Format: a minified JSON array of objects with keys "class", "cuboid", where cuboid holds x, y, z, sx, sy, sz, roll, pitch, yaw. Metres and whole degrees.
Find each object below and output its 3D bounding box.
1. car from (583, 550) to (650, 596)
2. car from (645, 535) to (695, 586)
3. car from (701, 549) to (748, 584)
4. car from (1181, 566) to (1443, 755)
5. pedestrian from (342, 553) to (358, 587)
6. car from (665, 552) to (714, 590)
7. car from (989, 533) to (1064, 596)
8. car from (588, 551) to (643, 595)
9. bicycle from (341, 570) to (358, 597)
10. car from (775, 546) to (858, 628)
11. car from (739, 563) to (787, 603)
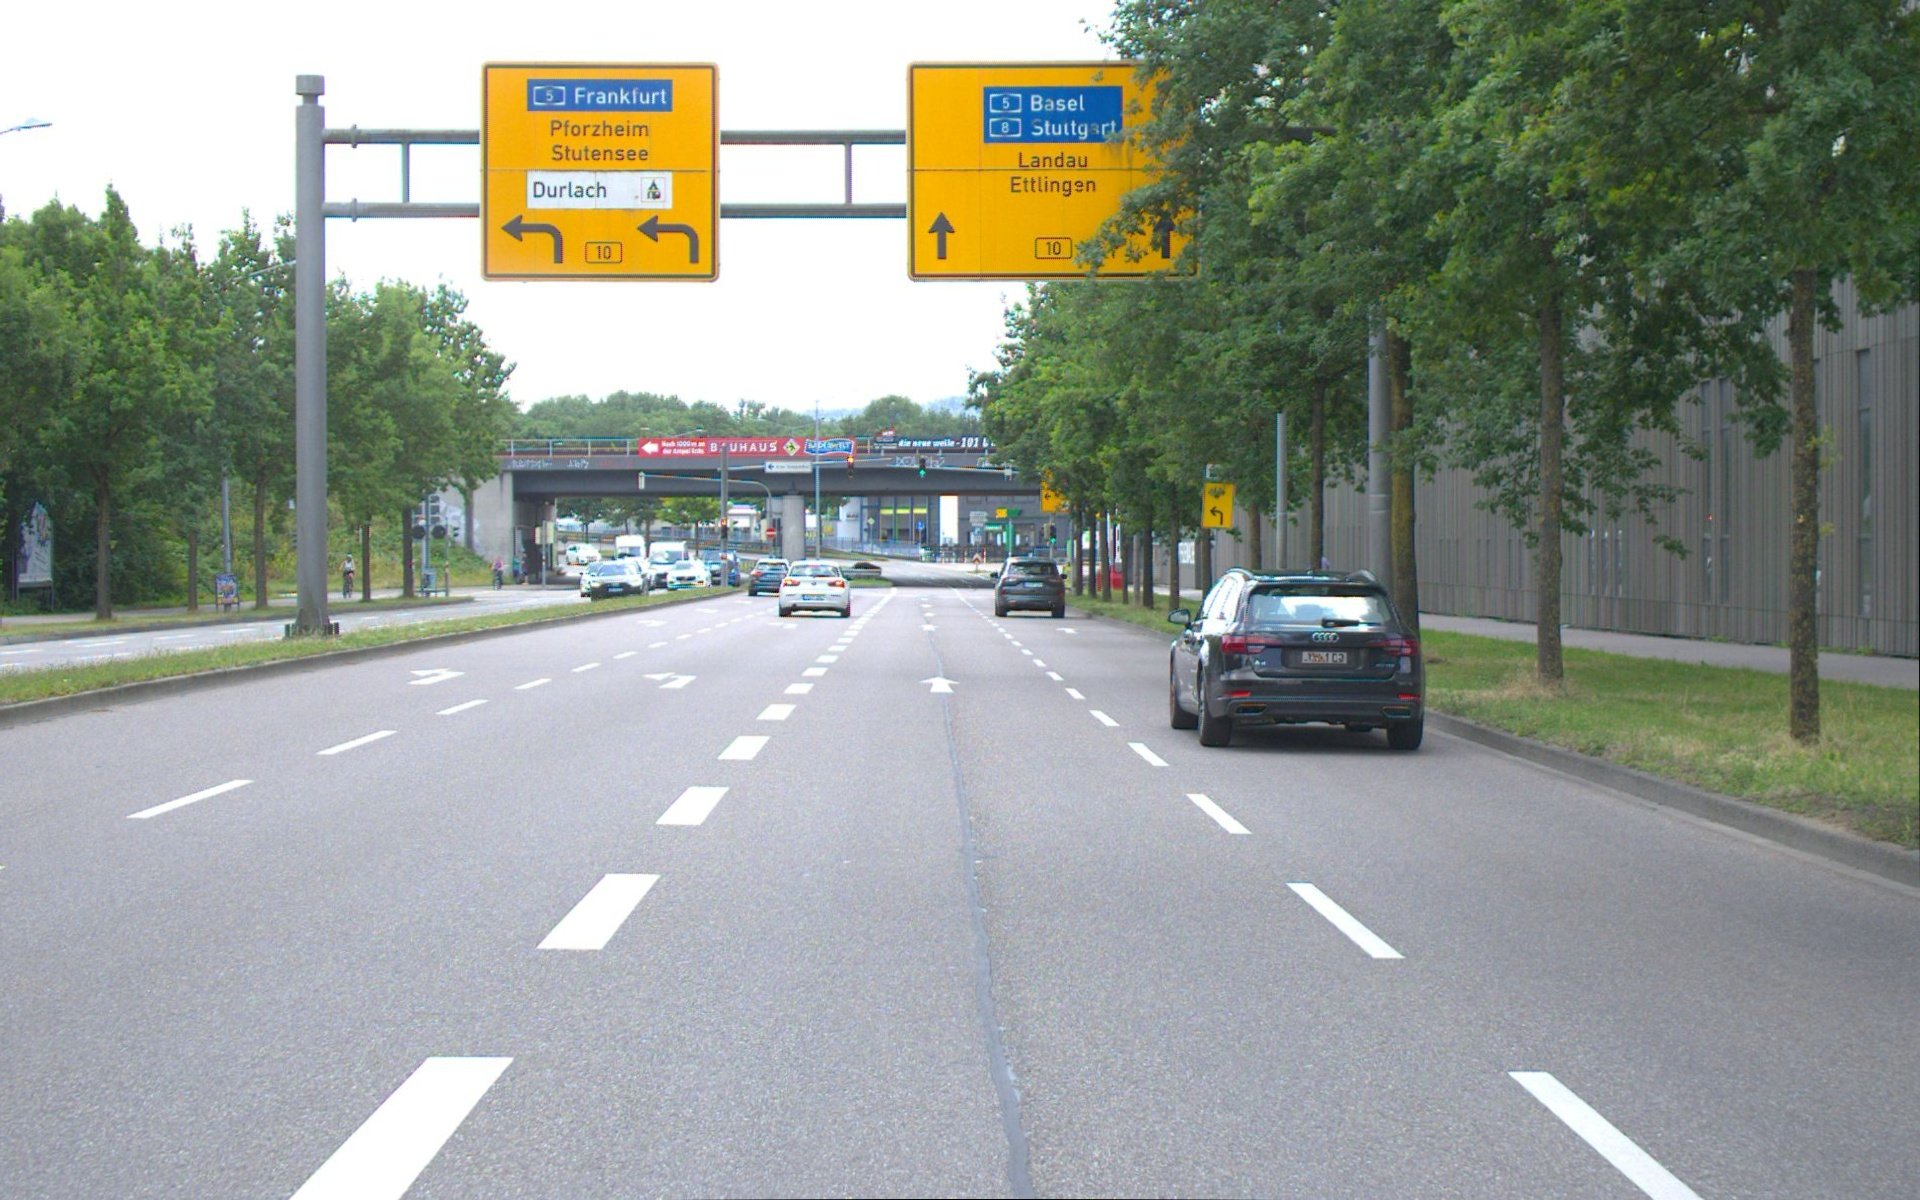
[{"class":"car","cuboid":[-12.393,-0.992,124.175,1.993,1.612,4.000,0,1,1]},{"class":"car","cuboid":[-15.772,-2.115,187.164,1.994,2.631,5.236,2,0,2]},{"class":"car","cuboid":[-12.376,-1.763,180.707,1.994,1.711,4.000,2,0,2]},{"class":"car","cuboid":[2.930,0.464,29.382,1.683,1.458,4.000,1,1,-2]},{"class":"pedestrian","cuboid":[-24.862,-1.218,140.149,0.558,1.395,0.563,2,0,-2]},{"class":"car","cuboid":[-12.845,-1.350,163.558,1.993,1.711,4.000,2,0,-1]},{"class":"car","cuboid":[1.854,-1.005,95.175,1.993,1.620,4.310,-1,2,1]},{"class":"car","cuboid":[-14.688,-1.128,146.756,1.993,1.777,4.000,2,0,-2]},{"class":"bicycle","cuboid":[-24.887,-0.677,140.180,0.460,1.087,1.474,2,0,-2]},{"class":"car","cuboid":[-3.663,-0.353,87.294,1.993,2.007,4.001,1,1,-3]},{"class":"car","cuboid":[-7.612,-0.659,132.857,1.774,1.458,4.001,1,1,-3]}]
